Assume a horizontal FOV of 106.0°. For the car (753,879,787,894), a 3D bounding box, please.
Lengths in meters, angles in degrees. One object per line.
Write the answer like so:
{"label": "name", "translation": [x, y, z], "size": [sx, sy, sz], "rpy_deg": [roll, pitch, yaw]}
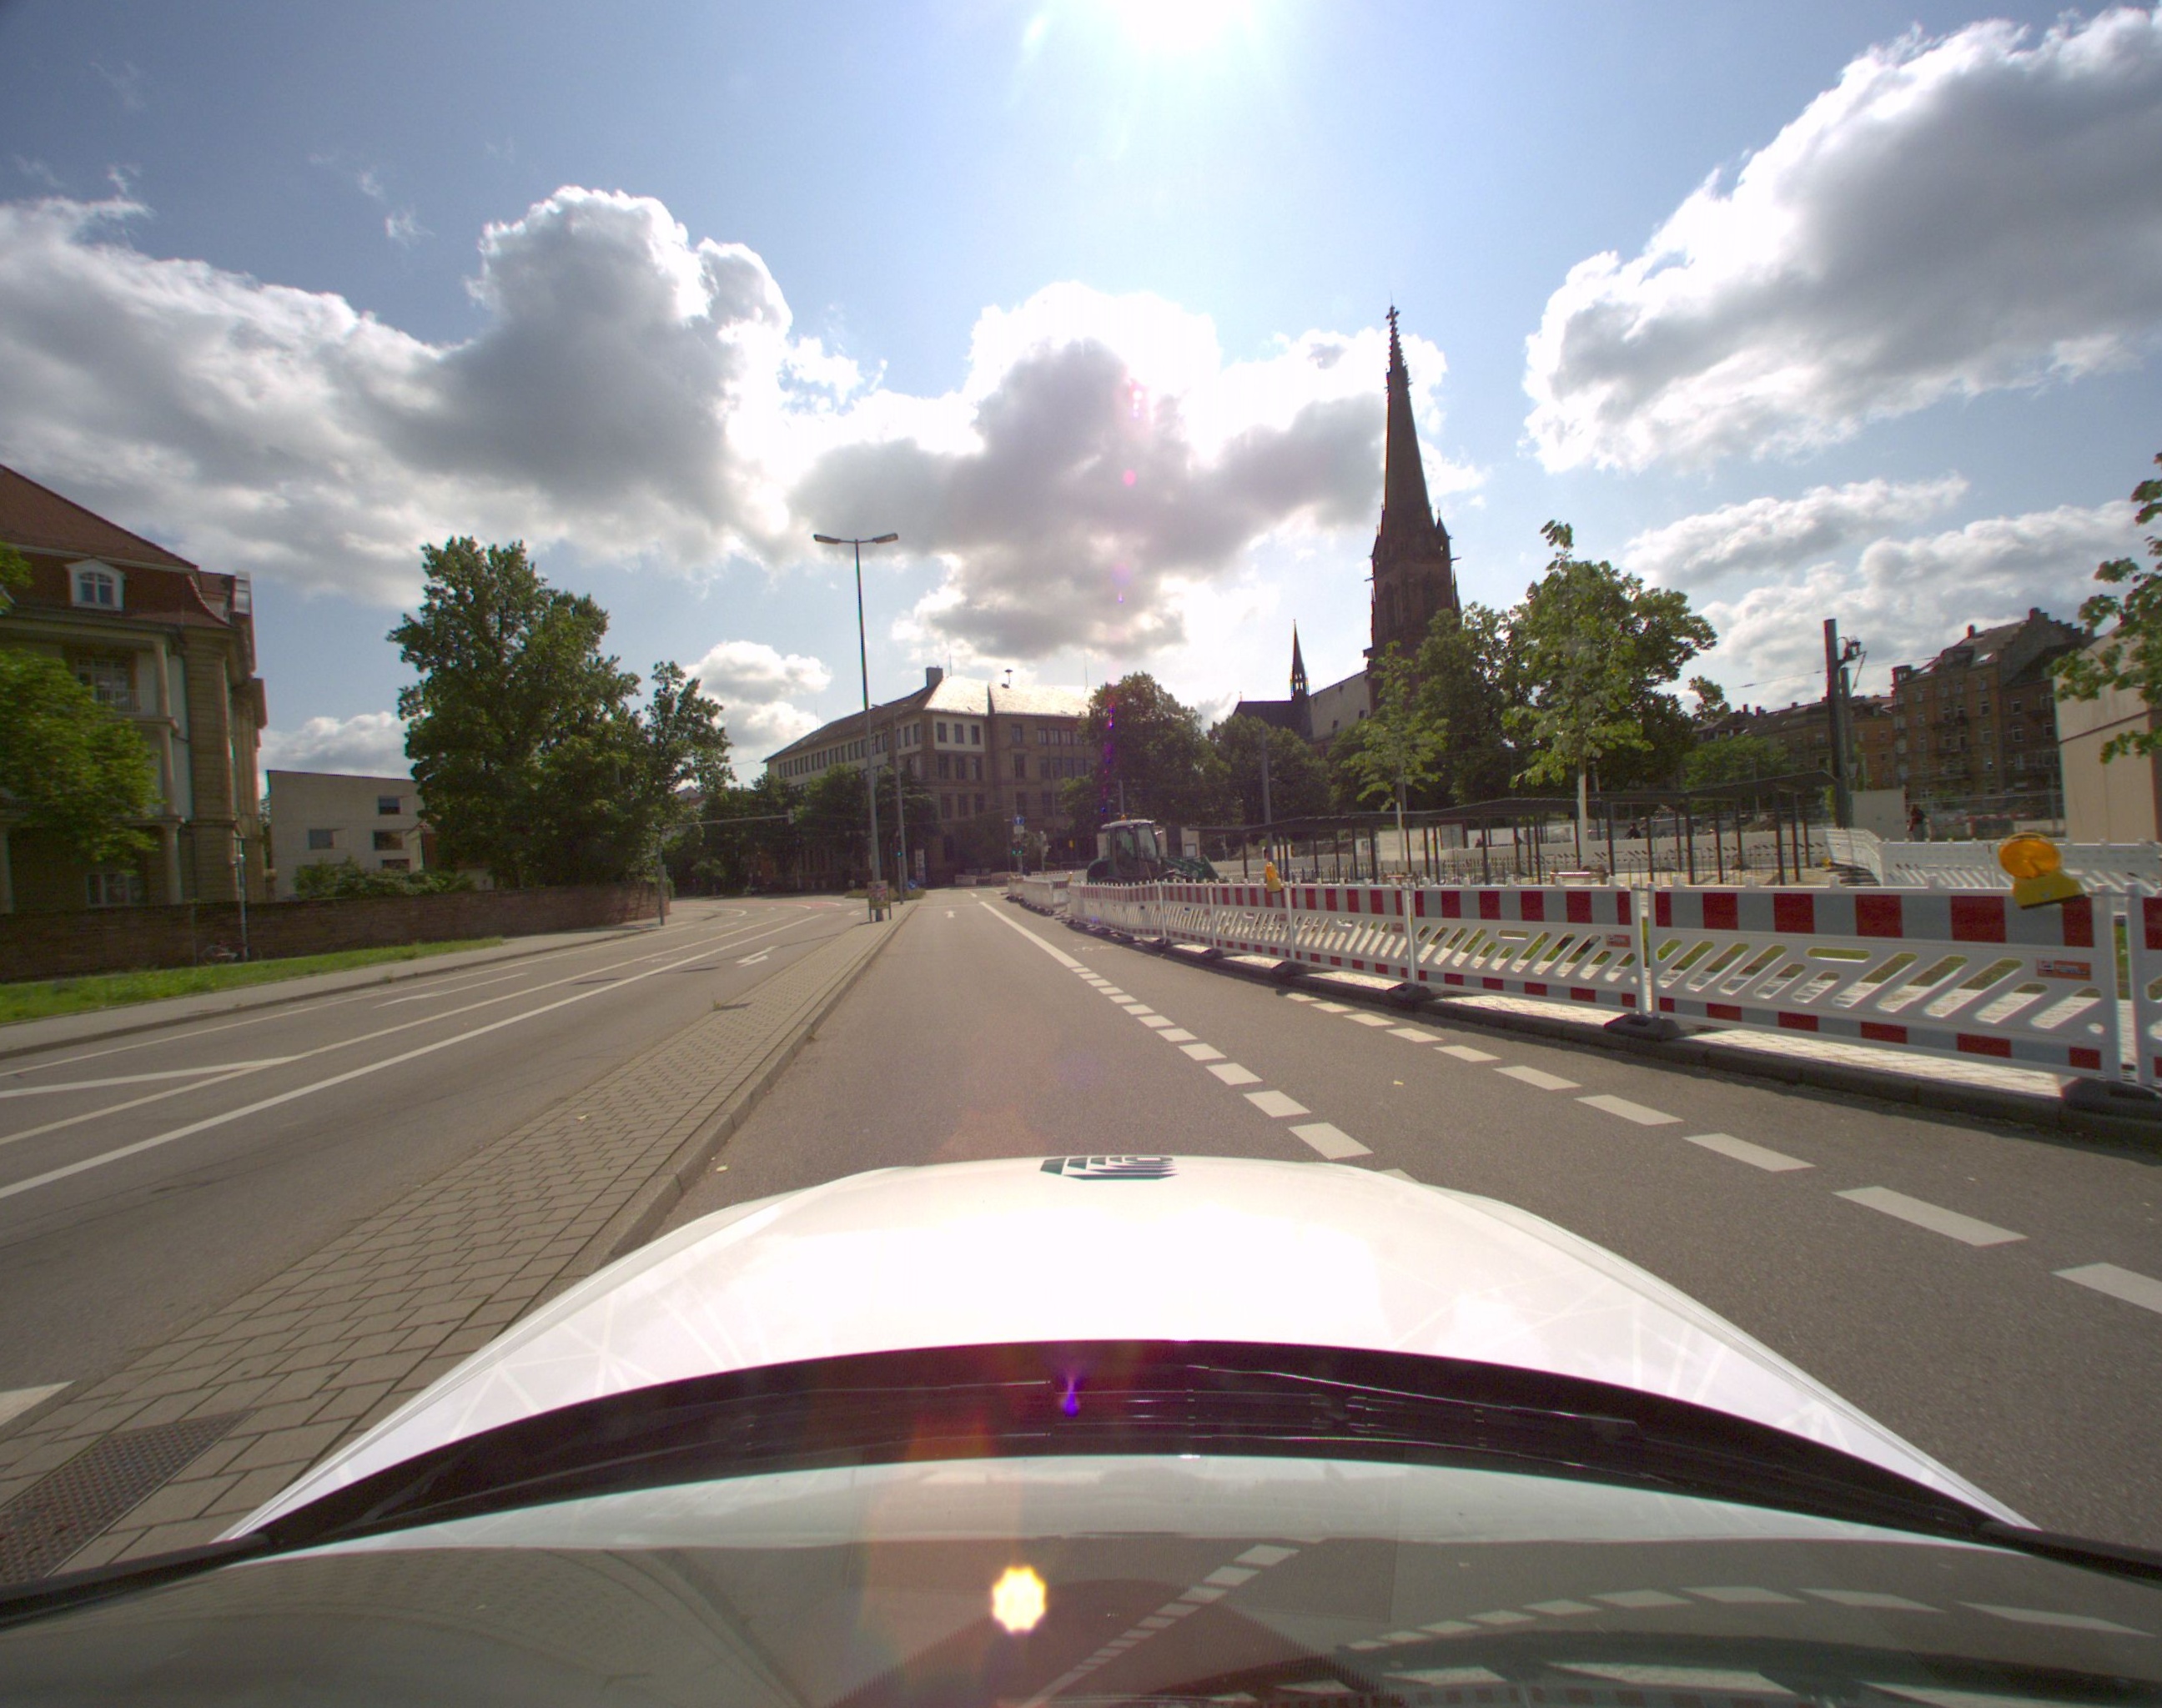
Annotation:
{"label": "car", "translation": [-41.435, 4.285, 108.628], "size": [3.996, 1.684, 1.793], "rpy_deg": [-4, 0, -16]}

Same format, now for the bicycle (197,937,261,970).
{"label": "bicycle", "translation": [-31.138, 3.613, 29.792], "size": [0.389, 0.992, 1.532], "rpy_deg": [-4, 0, 35]}

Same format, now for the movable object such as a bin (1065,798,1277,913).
{"label": "movable object such as a bin", "translation": [2.482, 0.128, 23.352], "size": [5.470, 2.884, 2.303], "rpy_deg": [-4, -1, 37]}

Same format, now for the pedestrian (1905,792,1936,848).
{"label": "pedestrian", "translation": [31.439, -1.274, 30.501], "size": [0.559, 2.013, 0.694], "rpy_deg": [-3, -1, -45]}

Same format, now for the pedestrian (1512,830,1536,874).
{"label": "pedestrian", "translation": [21.251, -0.104, 39.045], "size": [0.753, 2.013, 0.755], "rpy_deg": [-4, 0, 43]}

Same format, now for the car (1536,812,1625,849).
{"label": "car", "translation": [29.879, -1.413, 48.758], "size": [4.127, 1.881, 1.814], "rpy_deg": [-4, 0, 45]}

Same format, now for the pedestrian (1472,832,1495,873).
{"label": "pedestrian", "translation": [20.238, -0.073, 40.908], "size": [0.740, 2.013, 0.768], "rpy_deg": [-4, 0, 42]}

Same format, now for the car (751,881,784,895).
{"label": "car", "translation": [-42.810, 4.642, 111.283], "size": [3.996, 1.684, 1.793], "rpy_deg": [-4, 0, -16]}

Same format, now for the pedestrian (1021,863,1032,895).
{"label": "pedestrian", "translation": [-3.130, 1.435, 47.060], "size": [0.496, 1.850, 0.529], "rpy_deg": [-4, -1, 0]}

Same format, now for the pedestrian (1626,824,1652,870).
{"label": "pedestrian", "translation": [25.274, -0.334, 36.881], "size": [0.753, 2.013, 0.755], "rpy_deg": [-4, 0, 43]}

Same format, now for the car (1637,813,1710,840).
{"label": "car", "translation": [47.421, -2.181, 65.291], "size": [1.791, 1.793, 4.323], "rpy_deg": [-4, 0, -36]}
